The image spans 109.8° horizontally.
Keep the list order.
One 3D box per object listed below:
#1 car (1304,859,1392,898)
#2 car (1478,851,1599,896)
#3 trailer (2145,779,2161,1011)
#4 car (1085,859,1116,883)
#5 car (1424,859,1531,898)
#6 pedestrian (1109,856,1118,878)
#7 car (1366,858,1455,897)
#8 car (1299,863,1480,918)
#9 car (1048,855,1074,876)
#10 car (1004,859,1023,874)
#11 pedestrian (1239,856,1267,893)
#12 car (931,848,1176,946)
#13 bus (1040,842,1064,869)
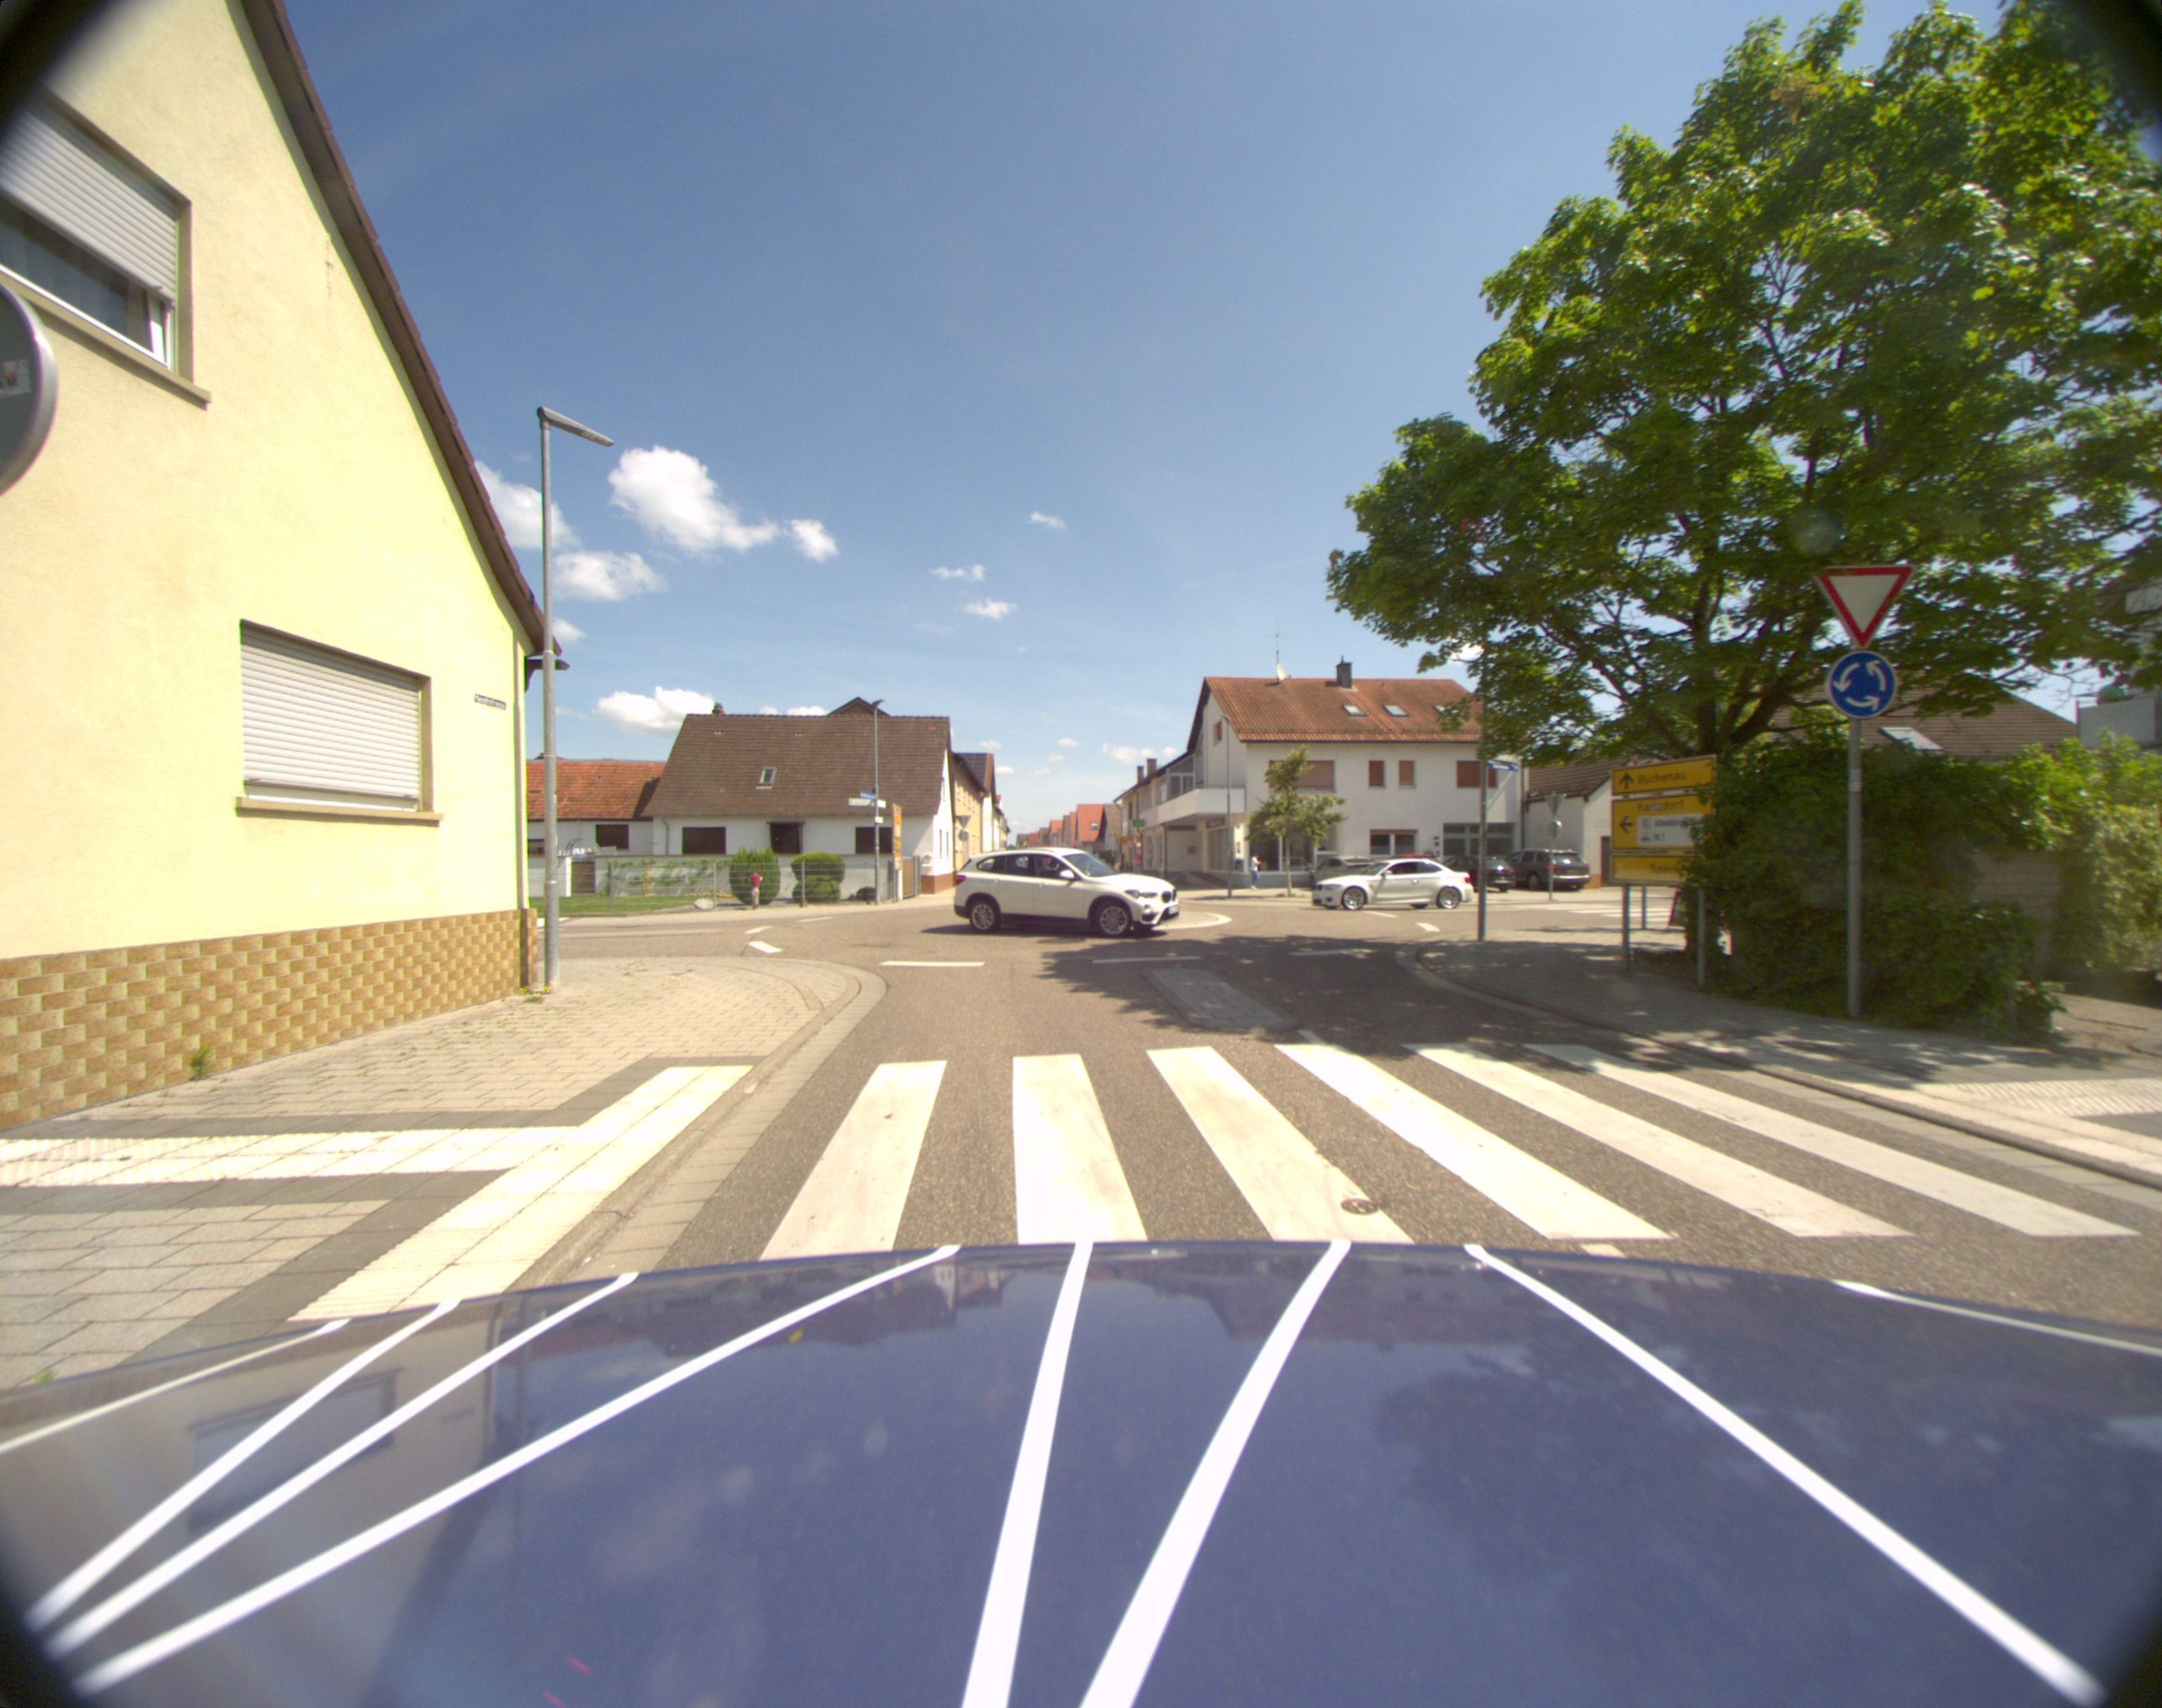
[{"bbox_3d":[10.956,0.962,31.549,1.835,1.442,4.476,0,0,-4],"label":"car"},{"bbox_3d":[19.111,0.755,32.016,1.986,1.729,4.747,0,0,-4],"label":"car"},{"bbox_3d":[11.868,0.379,5.502,1.884,2.322,4.522,-2,0,-3],"label":"trailer"},{"bbox_3d":[1.383,1.222,55.446,1.749,1.507,3.998,-4,1,-5],"label":"car"},{"bbox_3d":[16.224,0.950,31.386,1.835,1.442,4.476,0,0,-4],"label":"car"},{"bbox_3d":[2.709,1.053,63.187,0.579,1.780,0.693,-2,1,-4],"label":"pedestrian"},{"bbox_3d":[13.595,0.927,31.642,1.752,1.468,3.962,0,0,-4],"label":"car"},{"bbox_3d":[8.599,1.030,21.383,4.333,1.439,1.881,0,-3,-5],"label":"car"},{"bbox_3d":[-1.655,0.947,62.942,1.871,1.700,4.540,0,0,-5],"label":"car"},{"bbox_3d":[-6.547,1.194,73.708,1.765,1.420,4.188,0,-1,-4],"label":"car"},{"bbox_3d":[7.585,0.891,33.573,0.758,1.574,0.955,-2,1,-25],"label":"pedestrian"},{"bbox_3d":[-0.585,0.746,14.582,4.362,1.636,1.850,-1,0,31],"label":"car"},{"bbox_3d":[-3.836,0.220,98.541,2.634,3.213,12.018,2,0,-4],"label":"bus"}]
